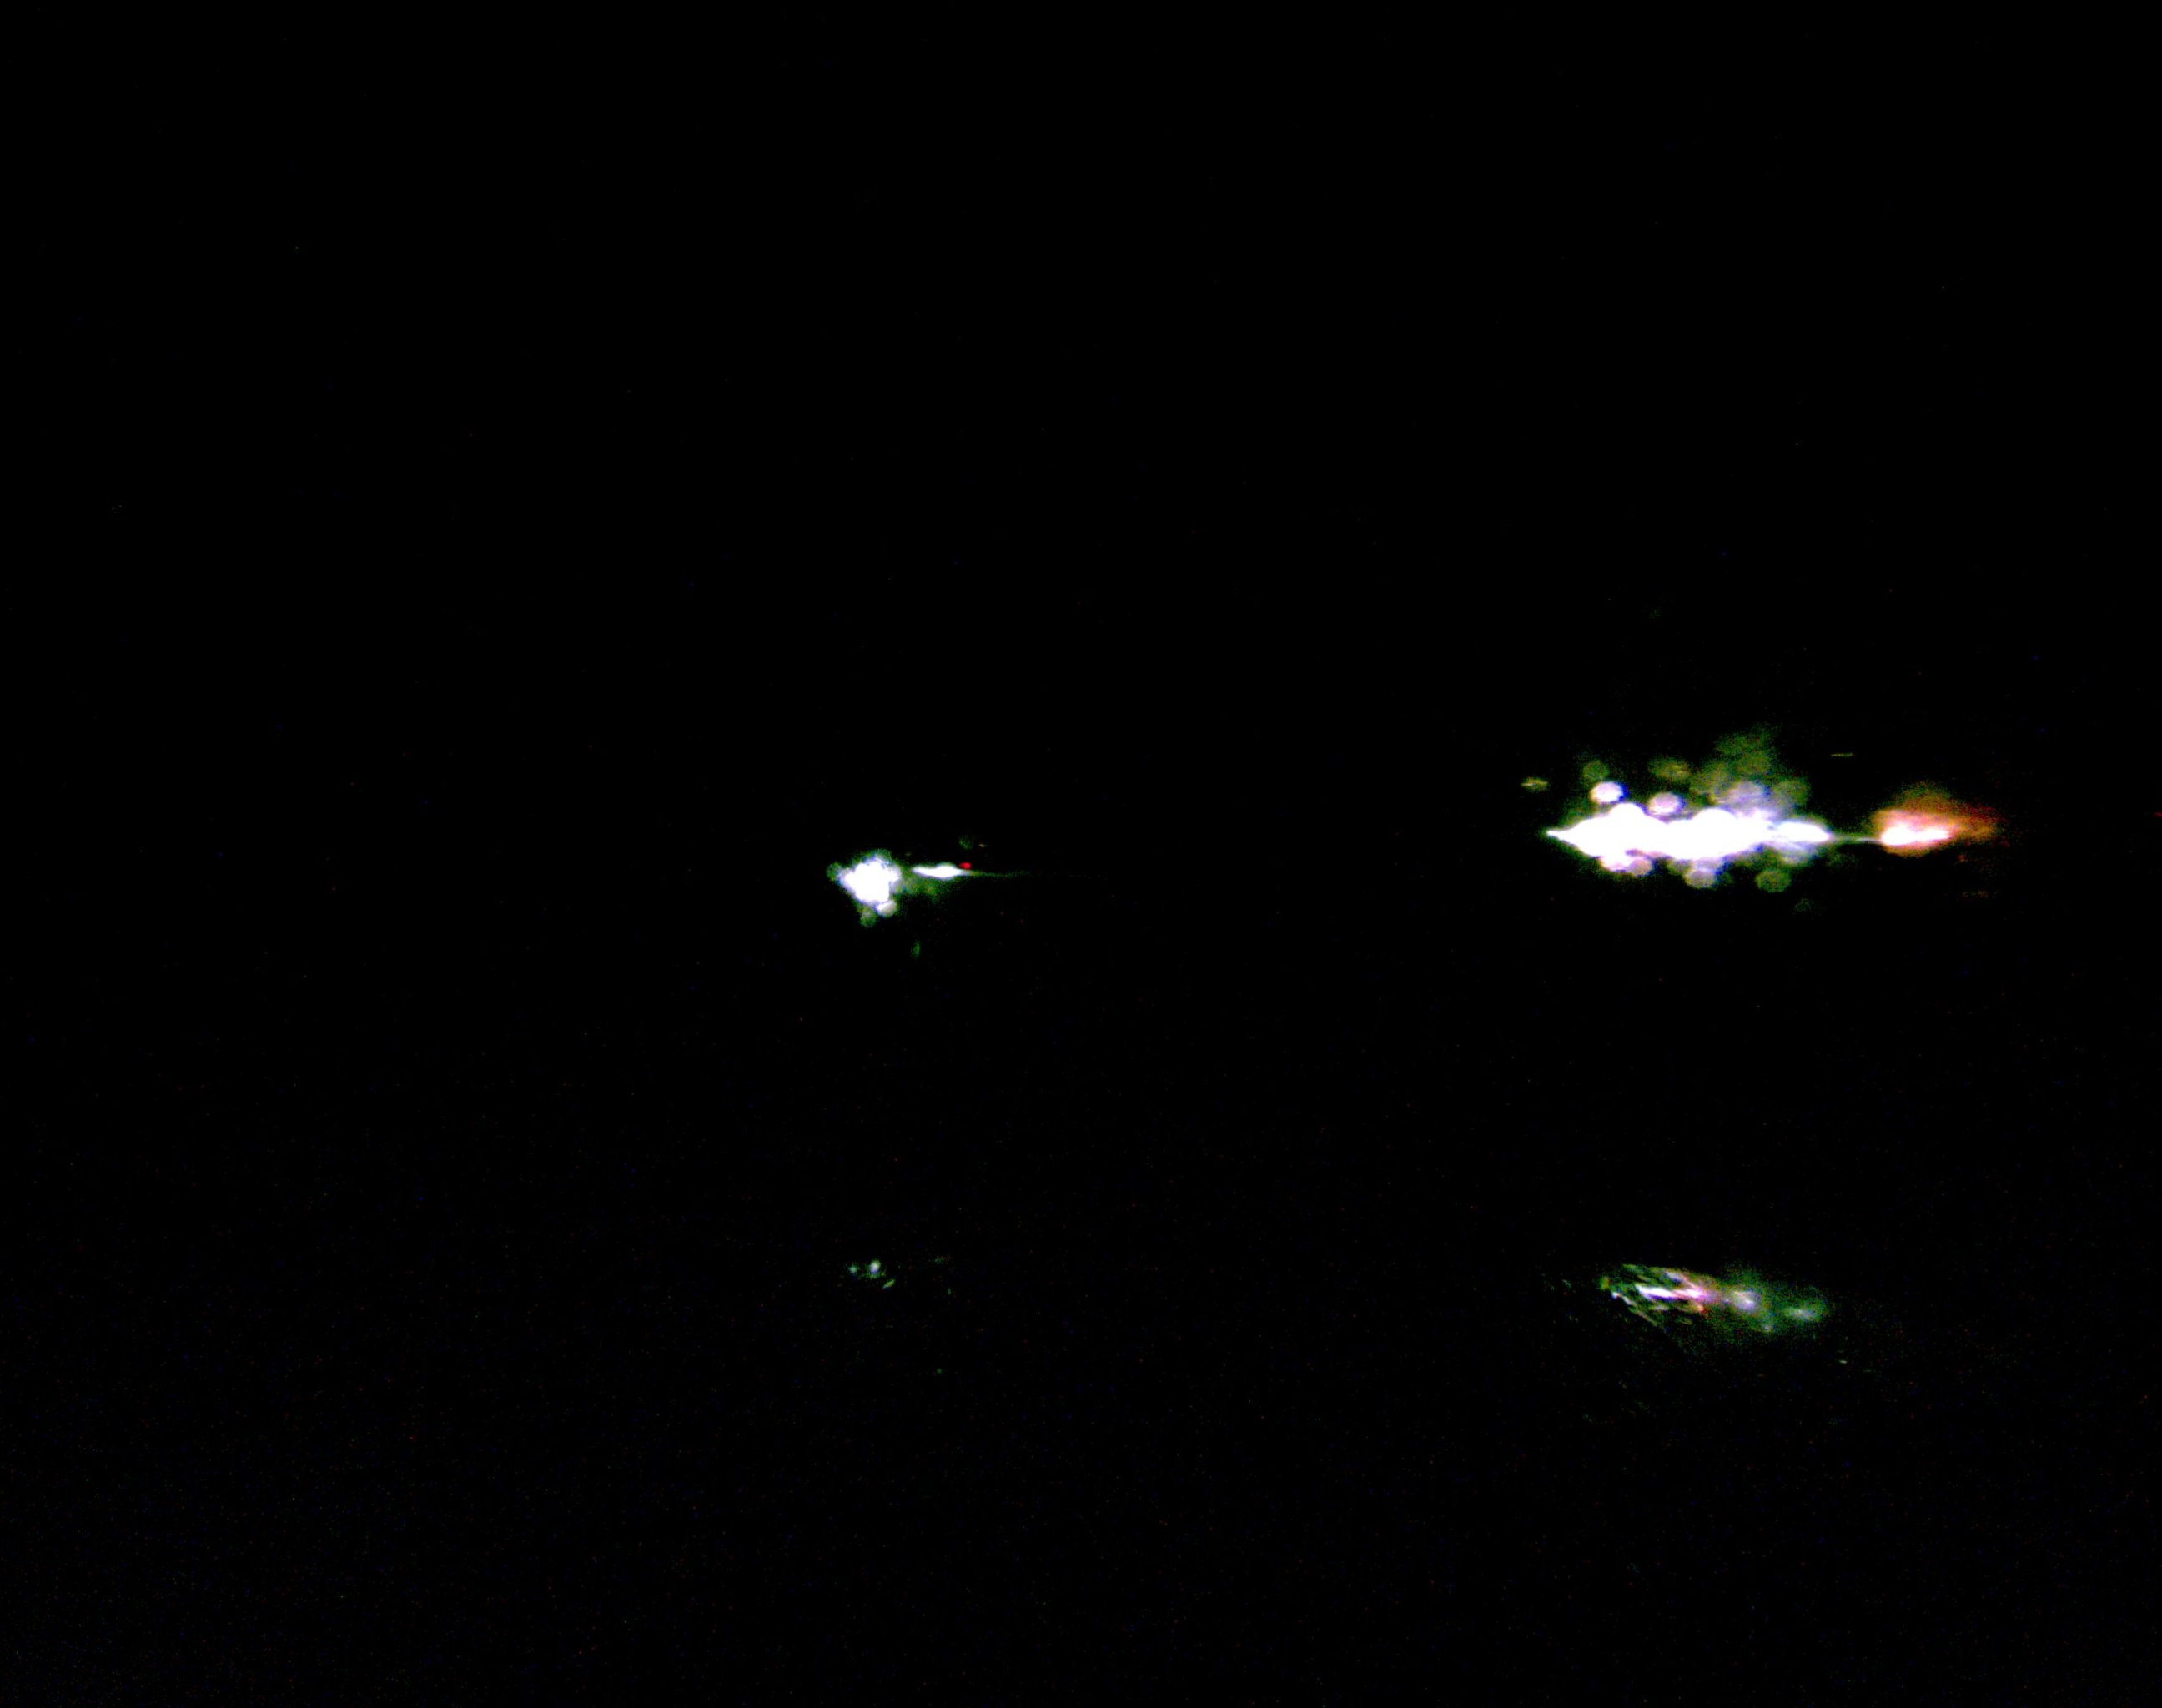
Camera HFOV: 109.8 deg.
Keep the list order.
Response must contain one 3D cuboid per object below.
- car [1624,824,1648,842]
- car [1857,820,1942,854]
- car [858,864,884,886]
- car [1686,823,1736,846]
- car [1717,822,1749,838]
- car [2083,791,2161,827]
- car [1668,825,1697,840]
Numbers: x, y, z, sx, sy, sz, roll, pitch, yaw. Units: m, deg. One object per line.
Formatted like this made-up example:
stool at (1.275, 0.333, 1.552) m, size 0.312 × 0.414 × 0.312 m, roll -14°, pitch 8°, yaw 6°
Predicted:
car at (68.050, -2.558, 93.266) m, size 1.995 × 2.002 × 4.007 m, roll -4°, pitch 0°, yaw 32°
car at (41.474, -0.897, 38.616) m, size 1.723 × 1.587 × 4.006 m, roll -2°, pitch 1°, yaw 28°
car at (-18.891, 1.858, 68.305) m, size 2.001 × 1.737 × 4.095 m, roll -4°, pitch 0°, yaw -16°
car at (48.129, -1.491, 58.142) m, size 1.918 × 1.587 × 4.006 m, roll -2°, pitch 1°, yaw 24°
car at (72.390, -2.695, 84.396) m, size 1.918 × 1.587 × 4.006 m, roll -2°, pitch 1°, yaw 29°
car at (64.774, -2.738, 46.889) m, size 1.995 × 2.002 × 4.006 m, roll -4°, pitch 0°, yaw 28°
car at (67.471, -2.461, 85.336) m, size 1.918 × 1.587 × 4.006 m, roll -2°, pitch 1°, yaw 29°
